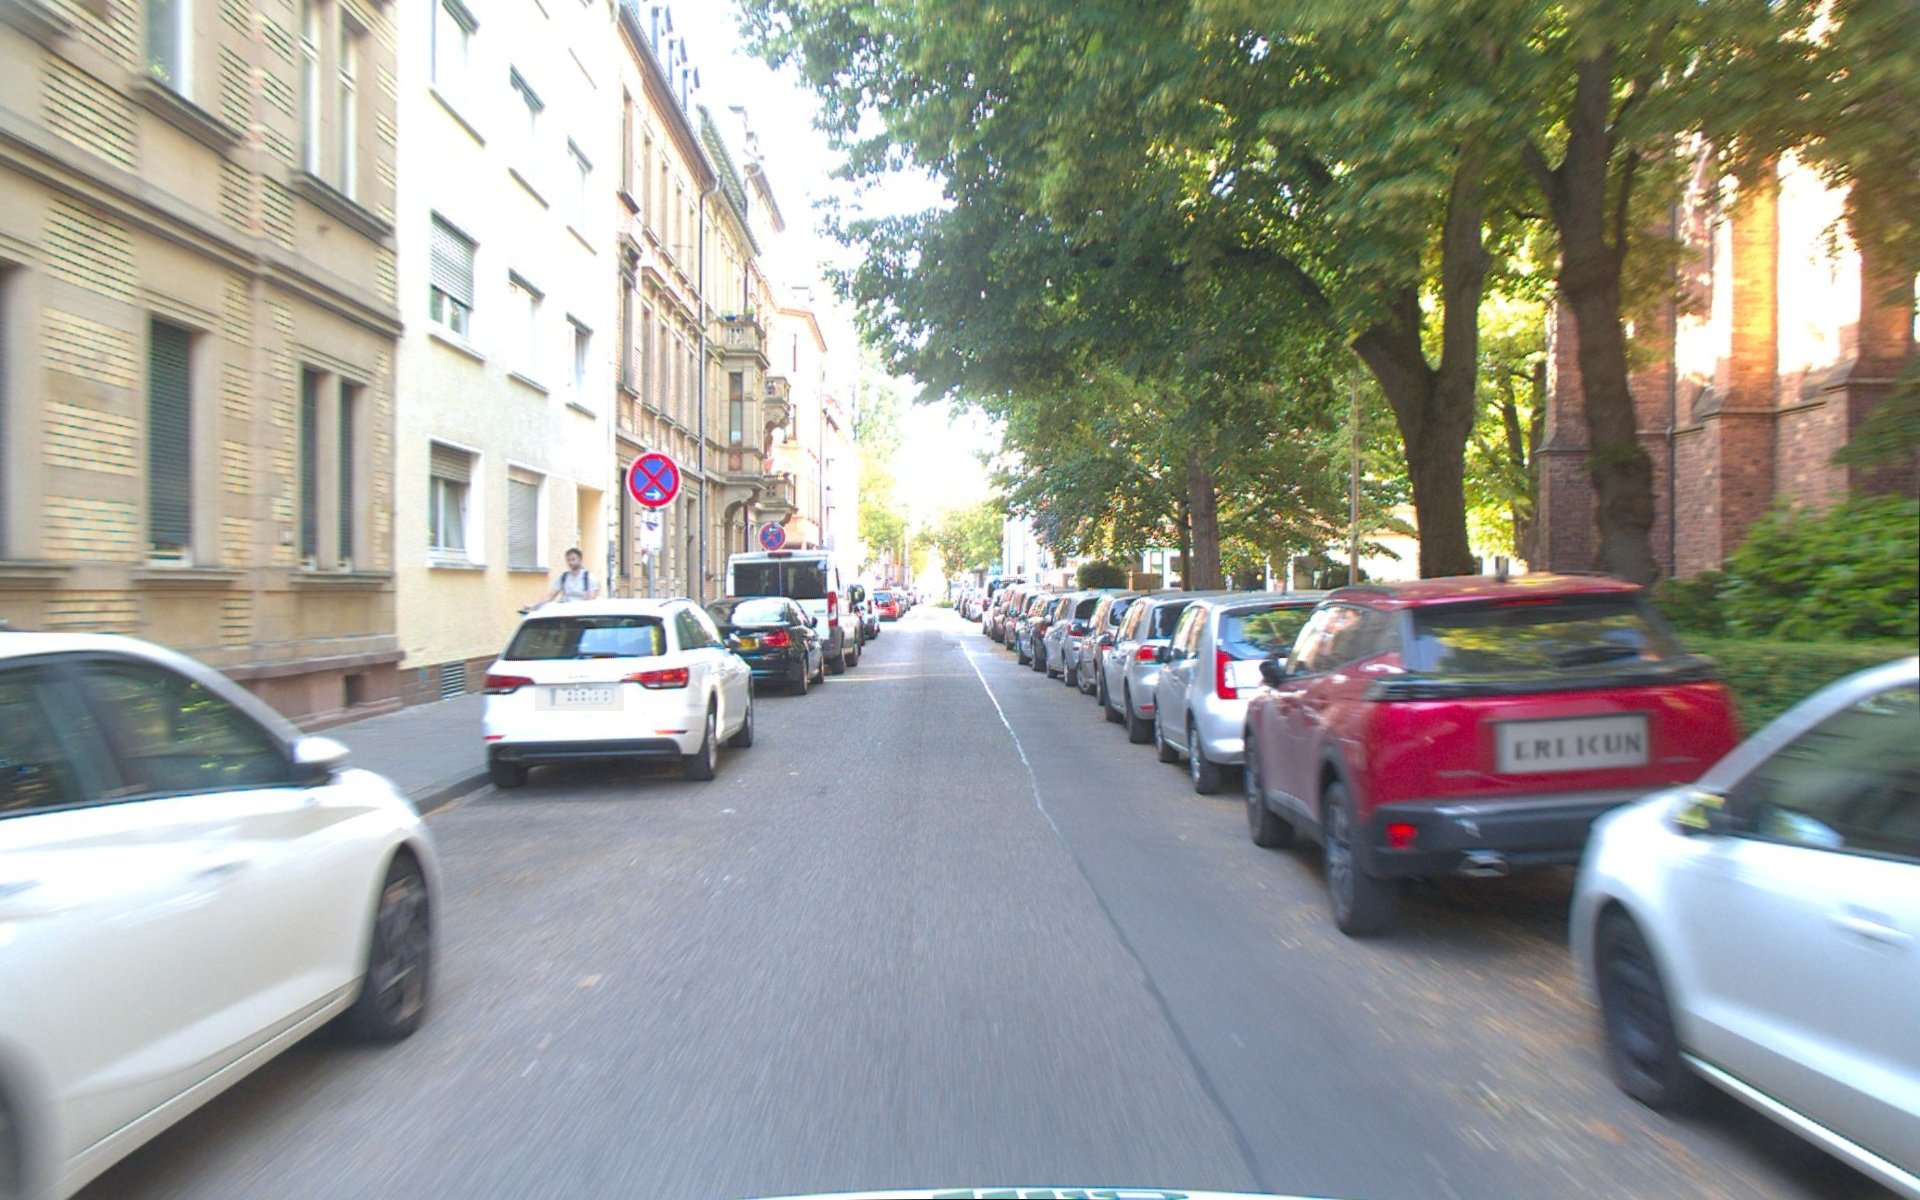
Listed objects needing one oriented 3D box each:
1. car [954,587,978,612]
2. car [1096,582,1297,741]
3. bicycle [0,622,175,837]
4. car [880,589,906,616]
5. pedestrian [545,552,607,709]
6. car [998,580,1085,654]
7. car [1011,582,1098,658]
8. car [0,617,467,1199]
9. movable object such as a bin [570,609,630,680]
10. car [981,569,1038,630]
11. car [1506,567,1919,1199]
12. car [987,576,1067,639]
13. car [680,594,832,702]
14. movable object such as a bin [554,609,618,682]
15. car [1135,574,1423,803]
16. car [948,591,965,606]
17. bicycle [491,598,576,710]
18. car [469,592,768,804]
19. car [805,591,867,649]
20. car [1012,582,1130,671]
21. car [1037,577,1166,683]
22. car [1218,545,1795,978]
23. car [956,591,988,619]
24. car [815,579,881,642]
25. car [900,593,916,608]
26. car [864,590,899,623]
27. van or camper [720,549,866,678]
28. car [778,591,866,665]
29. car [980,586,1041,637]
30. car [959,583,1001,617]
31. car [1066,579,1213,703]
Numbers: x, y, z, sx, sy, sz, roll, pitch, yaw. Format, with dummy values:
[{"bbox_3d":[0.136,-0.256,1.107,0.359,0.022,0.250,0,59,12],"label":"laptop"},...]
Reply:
[{"bbox_3d":[0.405,-0.040,118.318,1.641,1.711,4.094,-2,-1,0],"label":"car"},{"bbox_3d":[2.484,0.613,18.197,1.566,1.496,3.869,-3,0,-1],"label":"car"},{"bbox_3d":[-5.649,0.754,10.383,0.559,1.168,1.844,3,0,-2],"label":"bicycle"},{"bbox_3d":[-4.689,0.153,115.891,1.729,1.816,4.038,-2,0,-2],"label":"car"},{"bbox_3d":[-4.668,0.359,20.153,0.478,1.834,1.114,2,0,-2],"label":"pedestrian"},{"bbox_3d":[2.011,0.423,41.917,1.588,1.652,3.859,-5,0,-5],"label":"car"},{"bbox_3d":[2.098,0.434,37.635,1.586,1.512,3.775,-5,0,-1],"label":"car"},{"bbox_3d":[-2.702,0.813,4.264,1.674,1.441,3.803,-2,0,0],"label":"car"},{"bbox_3d":[-5.727,0.702,26.313,0.783,1.107,0.666,0,-1,3],"label":"movable object such as a bin"},{"bbox_3d":[1.734,-0.043,58.956,1.875,2.033,4.792,-2,0,1],"label":"car"},{"bbox_3d":[2.890,0.700,3.895,1.631,1.546,3.949,-5,0,-3],"label":"car"},{"bbox_3d":[1.927,0.248,48.751,1.706,1.630,4.259,-5,0,-5],"label":"car"},{"bbox_3d":[-3.013,0.657,25.200,1.695,1.426,4.315,-2,0,0],"label":"car"},{"bbox_3d":[-5.756,0.702,25.488,0.819,1.107,0.675,0,-1,2],"label":"movable object such as a bin"},{"bbox_3d":[2.518,0.648,13.893,1.567,1.531,3.720,-5,0,-1],"label":"car"},{"bbox_3d":[-0.339,-0.160,171.622,1.642,1.513,3.637,-2,0,-2],"label":"car"},{"bbox_3d":[-5.169,0.628,20.138,0.559,1.265,1.844,3,0,-2],"label":"bicycle"},{"bbox_3d":[-2.768,0.709,14.416,1.696,1.481,4.520,-2,0,-1],"label":"car"},{"bbox_3d":[-3.542,0.535,47.596,1.659,1.540,3.970,-2,0,-4],"label":"car"},{"bbox_3d":[2.073,0.492,32.216,1.642,1.466,4.692,-5,0,-3],"label":"car"},{"bbox_3d":[2.308,0.487,27.752,1.568,1.531,3.625,-5,0,-3],"label":"car"},{"bbox_3d":[2.530,0.657,8.745,1.630,1.613,4.101,-5,0,1],"label":"car"},{"bbox_3d":[0.679,0.272,96.466,1.642,1.533,3.936,-2,0,-2],"label":"car"},{"bbox_3d":[-3.502,0.317,52.498,1.794,1.843,4.571,-2,0,-1],"label":"car"},{"bbox_3d":[-5.498,0.013,175.515,1.642,1.513,4.093,-2,0,-2],"label":"car"},{"bbox_3d":[-3.874,0.300,81.628,1.595,1.507,3.600,-2,0,-2],"label":"car"},{"bbox_3d":[-3.074,0.217,31.567,2.132,2.185,5.154,-2,0,0],"label":"van or camper"},{"bbox_3d":[-3.109,0.589,37.871,1.731,1.540,4.192,-2,0,-2],"label":"car"},{"bbox_3d":[1.612,0.348,53.822,1.684,1.598,3.826,0,0,-3],"label":"car"},{"bbox_3d":[0.968,-0.004,81.167,1.709,1.533,4.354,-2,0,-4],"label":"car"},{"bbox_3d":[2.469,0.547,23.510,1.567,1.493,3.563,-5,0,-1],"label":"car"}]
